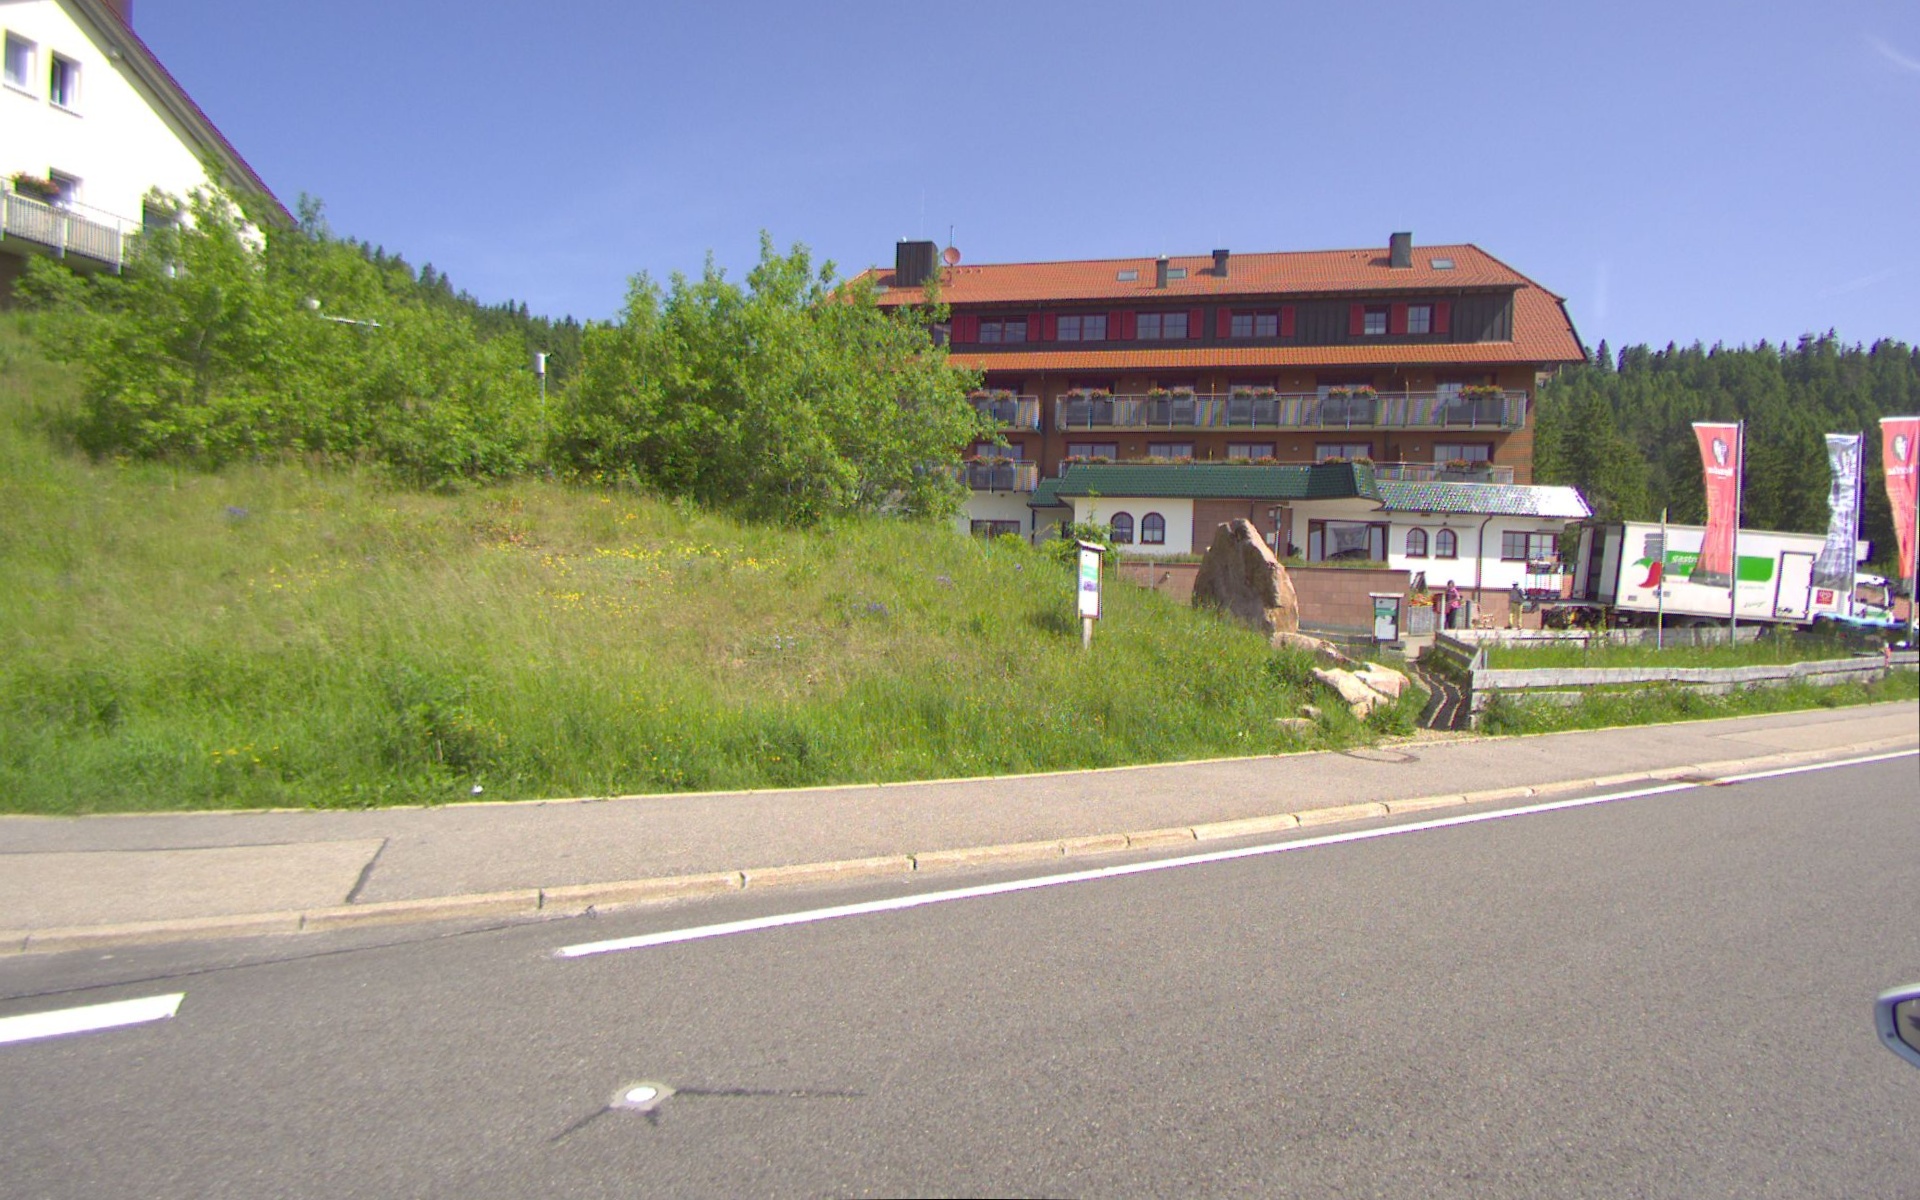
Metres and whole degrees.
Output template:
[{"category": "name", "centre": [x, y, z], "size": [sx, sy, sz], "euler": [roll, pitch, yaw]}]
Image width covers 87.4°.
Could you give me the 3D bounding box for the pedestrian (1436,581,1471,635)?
[{"category": "pedestrian", "centre": [16.207, 0.274, 33.032], "size": [0.782, 1.739, 0.699], "euler": [2, 0, 3]}]

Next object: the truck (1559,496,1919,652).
[{"category": "truck", "centre": [24.156, -0.852, 31.355], "size": [8.596, 4.025, 3.071], "euler": [4, 3, 5]}]

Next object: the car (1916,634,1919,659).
[{"category": "car", "centre": [62.397, 3.001, 62.382], "size": [3.919, 1.565, 1.900], "euler": [2, 0, 13]}]

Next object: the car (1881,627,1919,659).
[{"category": "car", "centre": [55.208, 2.466, 57.009], "size": [3.920, 1.726, 1.826], "euler": [2, 0, 17]}]

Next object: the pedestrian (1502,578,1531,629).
[{"category": "pedestrian", "centre": [19.072, 0.106, 34.434], "size": [0.640, 1.712, 0.575], "euler": [2, 0, 3]}]

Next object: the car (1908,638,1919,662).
[{"category": "car", "centre": [58.343, 2.999, 58.661], "size": [3.920, 1.389, 1.813], "euler": [2, 0, 19]}]

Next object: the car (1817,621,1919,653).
[{"category": "car", "centre": [47.061, 1.889, 51.764], "size": [3.919, 1.449, 1.915], "euler": [2, 0, 12]}]
